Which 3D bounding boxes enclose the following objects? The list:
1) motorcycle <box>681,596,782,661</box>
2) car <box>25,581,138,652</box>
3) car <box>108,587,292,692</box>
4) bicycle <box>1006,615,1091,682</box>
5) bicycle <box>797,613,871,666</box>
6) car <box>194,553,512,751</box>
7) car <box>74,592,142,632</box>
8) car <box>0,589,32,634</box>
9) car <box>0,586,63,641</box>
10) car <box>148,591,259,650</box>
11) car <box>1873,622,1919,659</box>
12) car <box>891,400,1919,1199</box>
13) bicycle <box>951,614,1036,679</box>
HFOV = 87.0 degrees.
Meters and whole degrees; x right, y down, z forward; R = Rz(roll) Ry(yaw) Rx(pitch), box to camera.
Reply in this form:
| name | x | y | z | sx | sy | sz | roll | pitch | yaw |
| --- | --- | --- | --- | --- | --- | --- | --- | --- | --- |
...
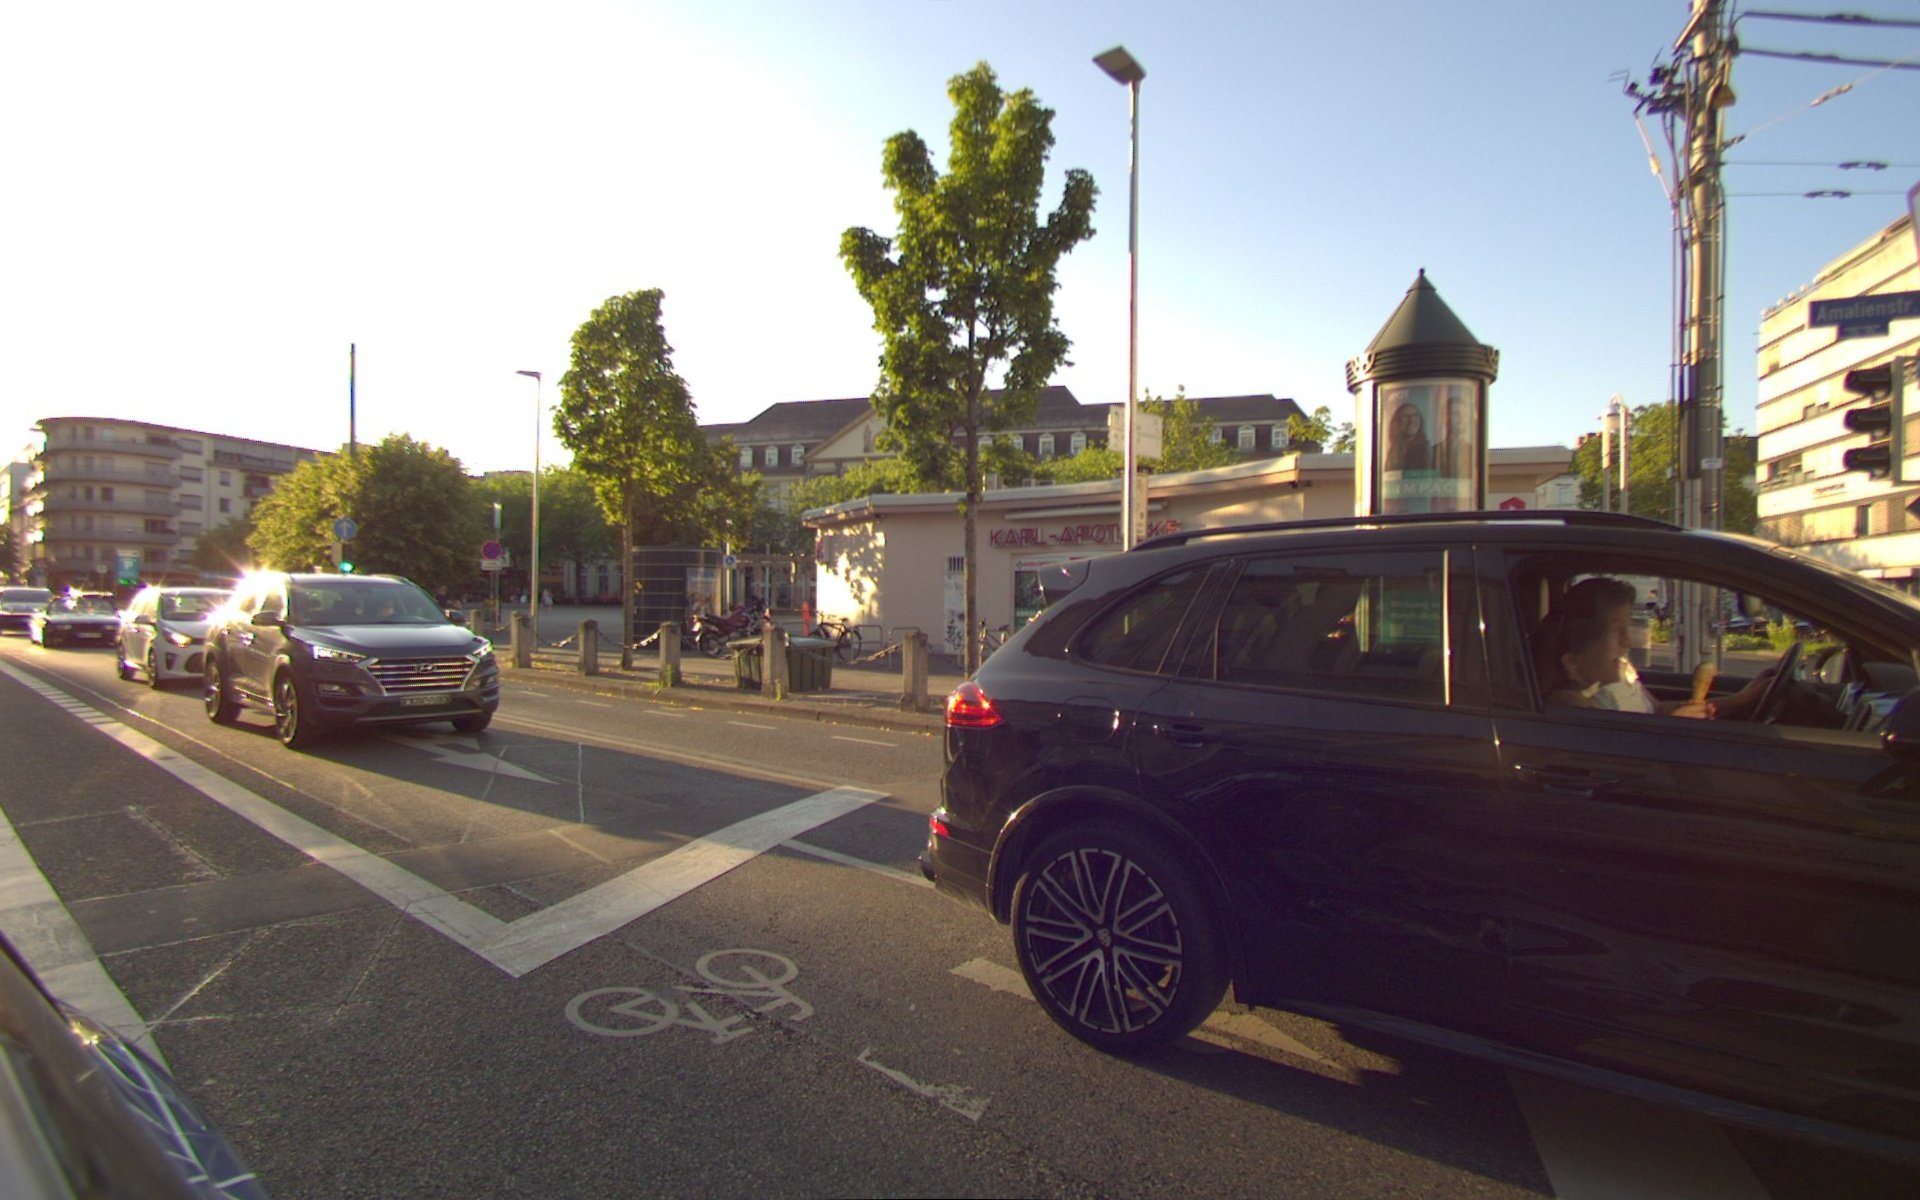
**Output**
| name | x | y | z | sx | sy | sz | roll | pitch | yaw |
| --- | --- | --- | --- | --- | --- | --- | --- | --- | --- |
| motorcycle | -5.357 | 0.656 | 23.868 | 0.700 | 1.457 | 2.367 | 0 | -1 | 41 |
| car | -23.401 | 0.438 | 26.912 | 3.985 | 1.754 | 1.803 | 0 | -2 | 43 |
| car | -12.304 | 0.569 | 16.296 | 3.985 | 1.483 | 1.695 | 0 | 0 | 43 |
| bicycle | 1.593 | 0.829 | 17.903 | 0.449 | 1.122 | 1.845 | 1 | 0 | 42 |
| bicycle | -2.712 | 0.838 | 21.918 | 0.396 | 1.111 | 1.787 | 0 | -1 | 41 |
| car | -6.634 | 0.460 | 10.863 | 4.259 | 1.710 | 1.803 | 0 | -1 | 43 |
| car | -38.865 | 0.539 | 46.134 | 3.985 | 1.711 | 1.803 | 0 | -3 | 43 |
| car | -40.041 | 0.471 | 42.112 | 4.002 | 1.785 | 1.854 | 0 | -1 | 44 |
| car | -32.042 | 0.458 | 34.457 | 3.985 | 1.754 | 1.803 | 0 | -2 | 43 |
| car | -22.326 | 0.581 | 29.828 | 3.999 | 1.615 | 1.855 | 0 | 0 | 42 |
| car | 36.016 | 1.492 | 37.908 | 1.449 | 1.301 | 3.128 | -3 | -2 | 18 |
| car | 2.073 | 0.459 | 2.977 | 4.563 | 1.710 | 1.783 | 0 | 0 | 39 |
| bicycle | 0.633 | 0.824 | 18.472 | 0.449 | 1.122 | 1.845 | 1 | 0 | 42 |
